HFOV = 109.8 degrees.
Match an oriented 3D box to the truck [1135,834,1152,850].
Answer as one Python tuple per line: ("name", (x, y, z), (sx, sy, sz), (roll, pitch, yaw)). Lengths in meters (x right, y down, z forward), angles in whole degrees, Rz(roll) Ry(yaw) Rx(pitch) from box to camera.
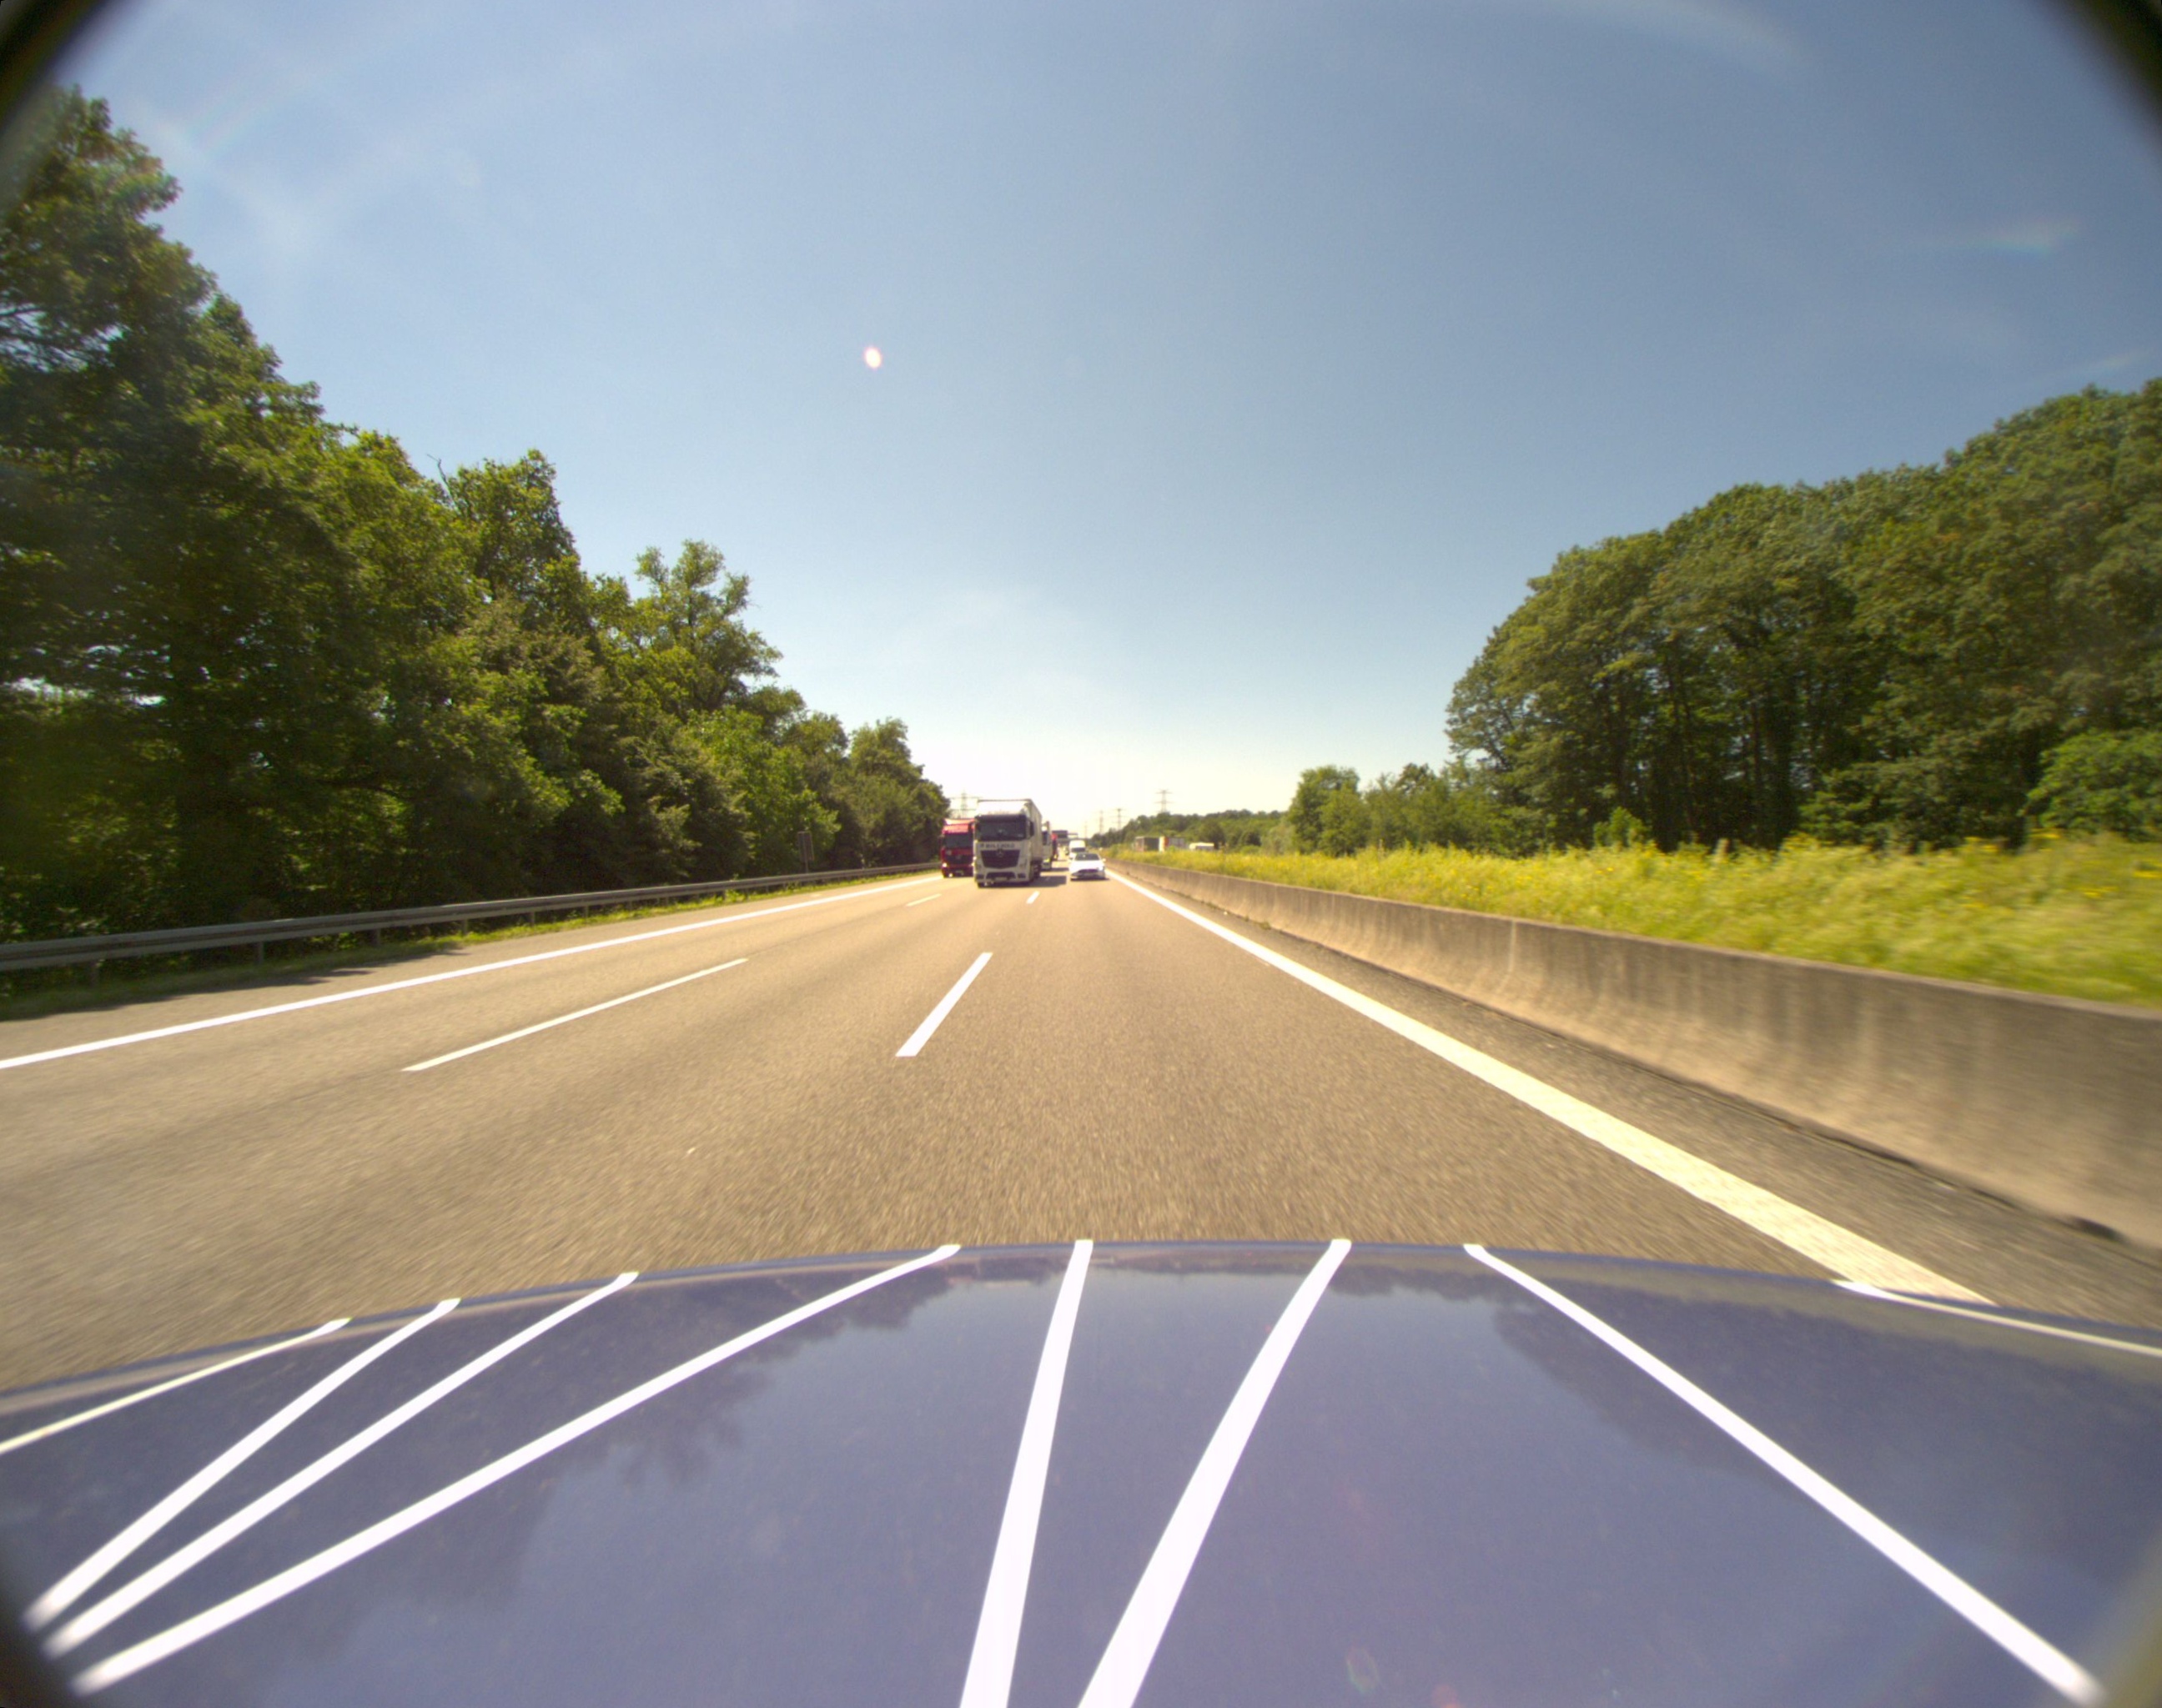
("truck", (11.757, -2.266, 143.448), (2.613, 2.991, 6.970), (-1, 1, -1))

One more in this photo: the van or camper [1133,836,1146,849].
("van or camper", (14.561, -2.800, 189.145), (2.514, 3.137, 7.532), (-2, 1, 0))

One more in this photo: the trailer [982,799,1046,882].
("trailer", (-3.646, -0.827, 44.999), (2.715, 4.045, 14.740), (-2, 1, -1))

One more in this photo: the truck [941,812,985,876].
("truck", (-8.104, -0.673, 52.574), (2.335, 4.206, 4.672), (-1, 1, -1))

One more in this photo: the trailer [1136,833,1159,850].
("trailer", (11.943, -2.206, 138.014), (2.649, 2.952, 14.228), (-1, 1, -1))

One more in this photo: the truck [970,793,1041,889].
("truck", (-3.412, -0.628, 35.847), (2.707, 4.071, 6.450), (-2, 1, -1))

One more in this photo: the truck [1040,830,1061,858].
("truck", (-4.661, -1.478, 114.528), (2.949, 3.963, 6.098), (-2, 1, -3))

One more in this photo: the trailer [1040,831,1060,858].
("trailer", (-5.036, -1.611, 123.082), (2.946, 3.995, 16.193), (-2, 1, -3))

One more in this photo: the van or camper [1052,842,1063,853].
("van or camper", (-5.381, -1.495, 175.339), (2.412, 2.483, 6.429), (-1, 1, -3))

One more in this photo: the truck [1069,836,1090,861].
("truck", (-0.222, -0.670, 91.855), (2.192, 2.842, 5.501), (-2, 1, -3))

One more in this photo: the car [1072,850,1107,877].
("car", (0.430, 0.515, 44.437), (1.788, 1.462, 3.998), (-1, 1, -3))

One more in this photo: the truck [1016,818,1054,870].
("truck", (-3.613, -0.807, 61.520), (2.807, 3.984, 6.018), (-2, 1, -2))

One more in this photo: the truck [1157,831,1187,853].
("truck", (9.960, -1.332, 83.780), (2.317, 2.313, 6.077), (-1, 1, -3))

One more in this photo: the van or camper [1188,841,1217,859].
("van or camper", (14.134, -0.517, 88.777), (2.227, 2.002, 5.885), (-2, 1, -2))
